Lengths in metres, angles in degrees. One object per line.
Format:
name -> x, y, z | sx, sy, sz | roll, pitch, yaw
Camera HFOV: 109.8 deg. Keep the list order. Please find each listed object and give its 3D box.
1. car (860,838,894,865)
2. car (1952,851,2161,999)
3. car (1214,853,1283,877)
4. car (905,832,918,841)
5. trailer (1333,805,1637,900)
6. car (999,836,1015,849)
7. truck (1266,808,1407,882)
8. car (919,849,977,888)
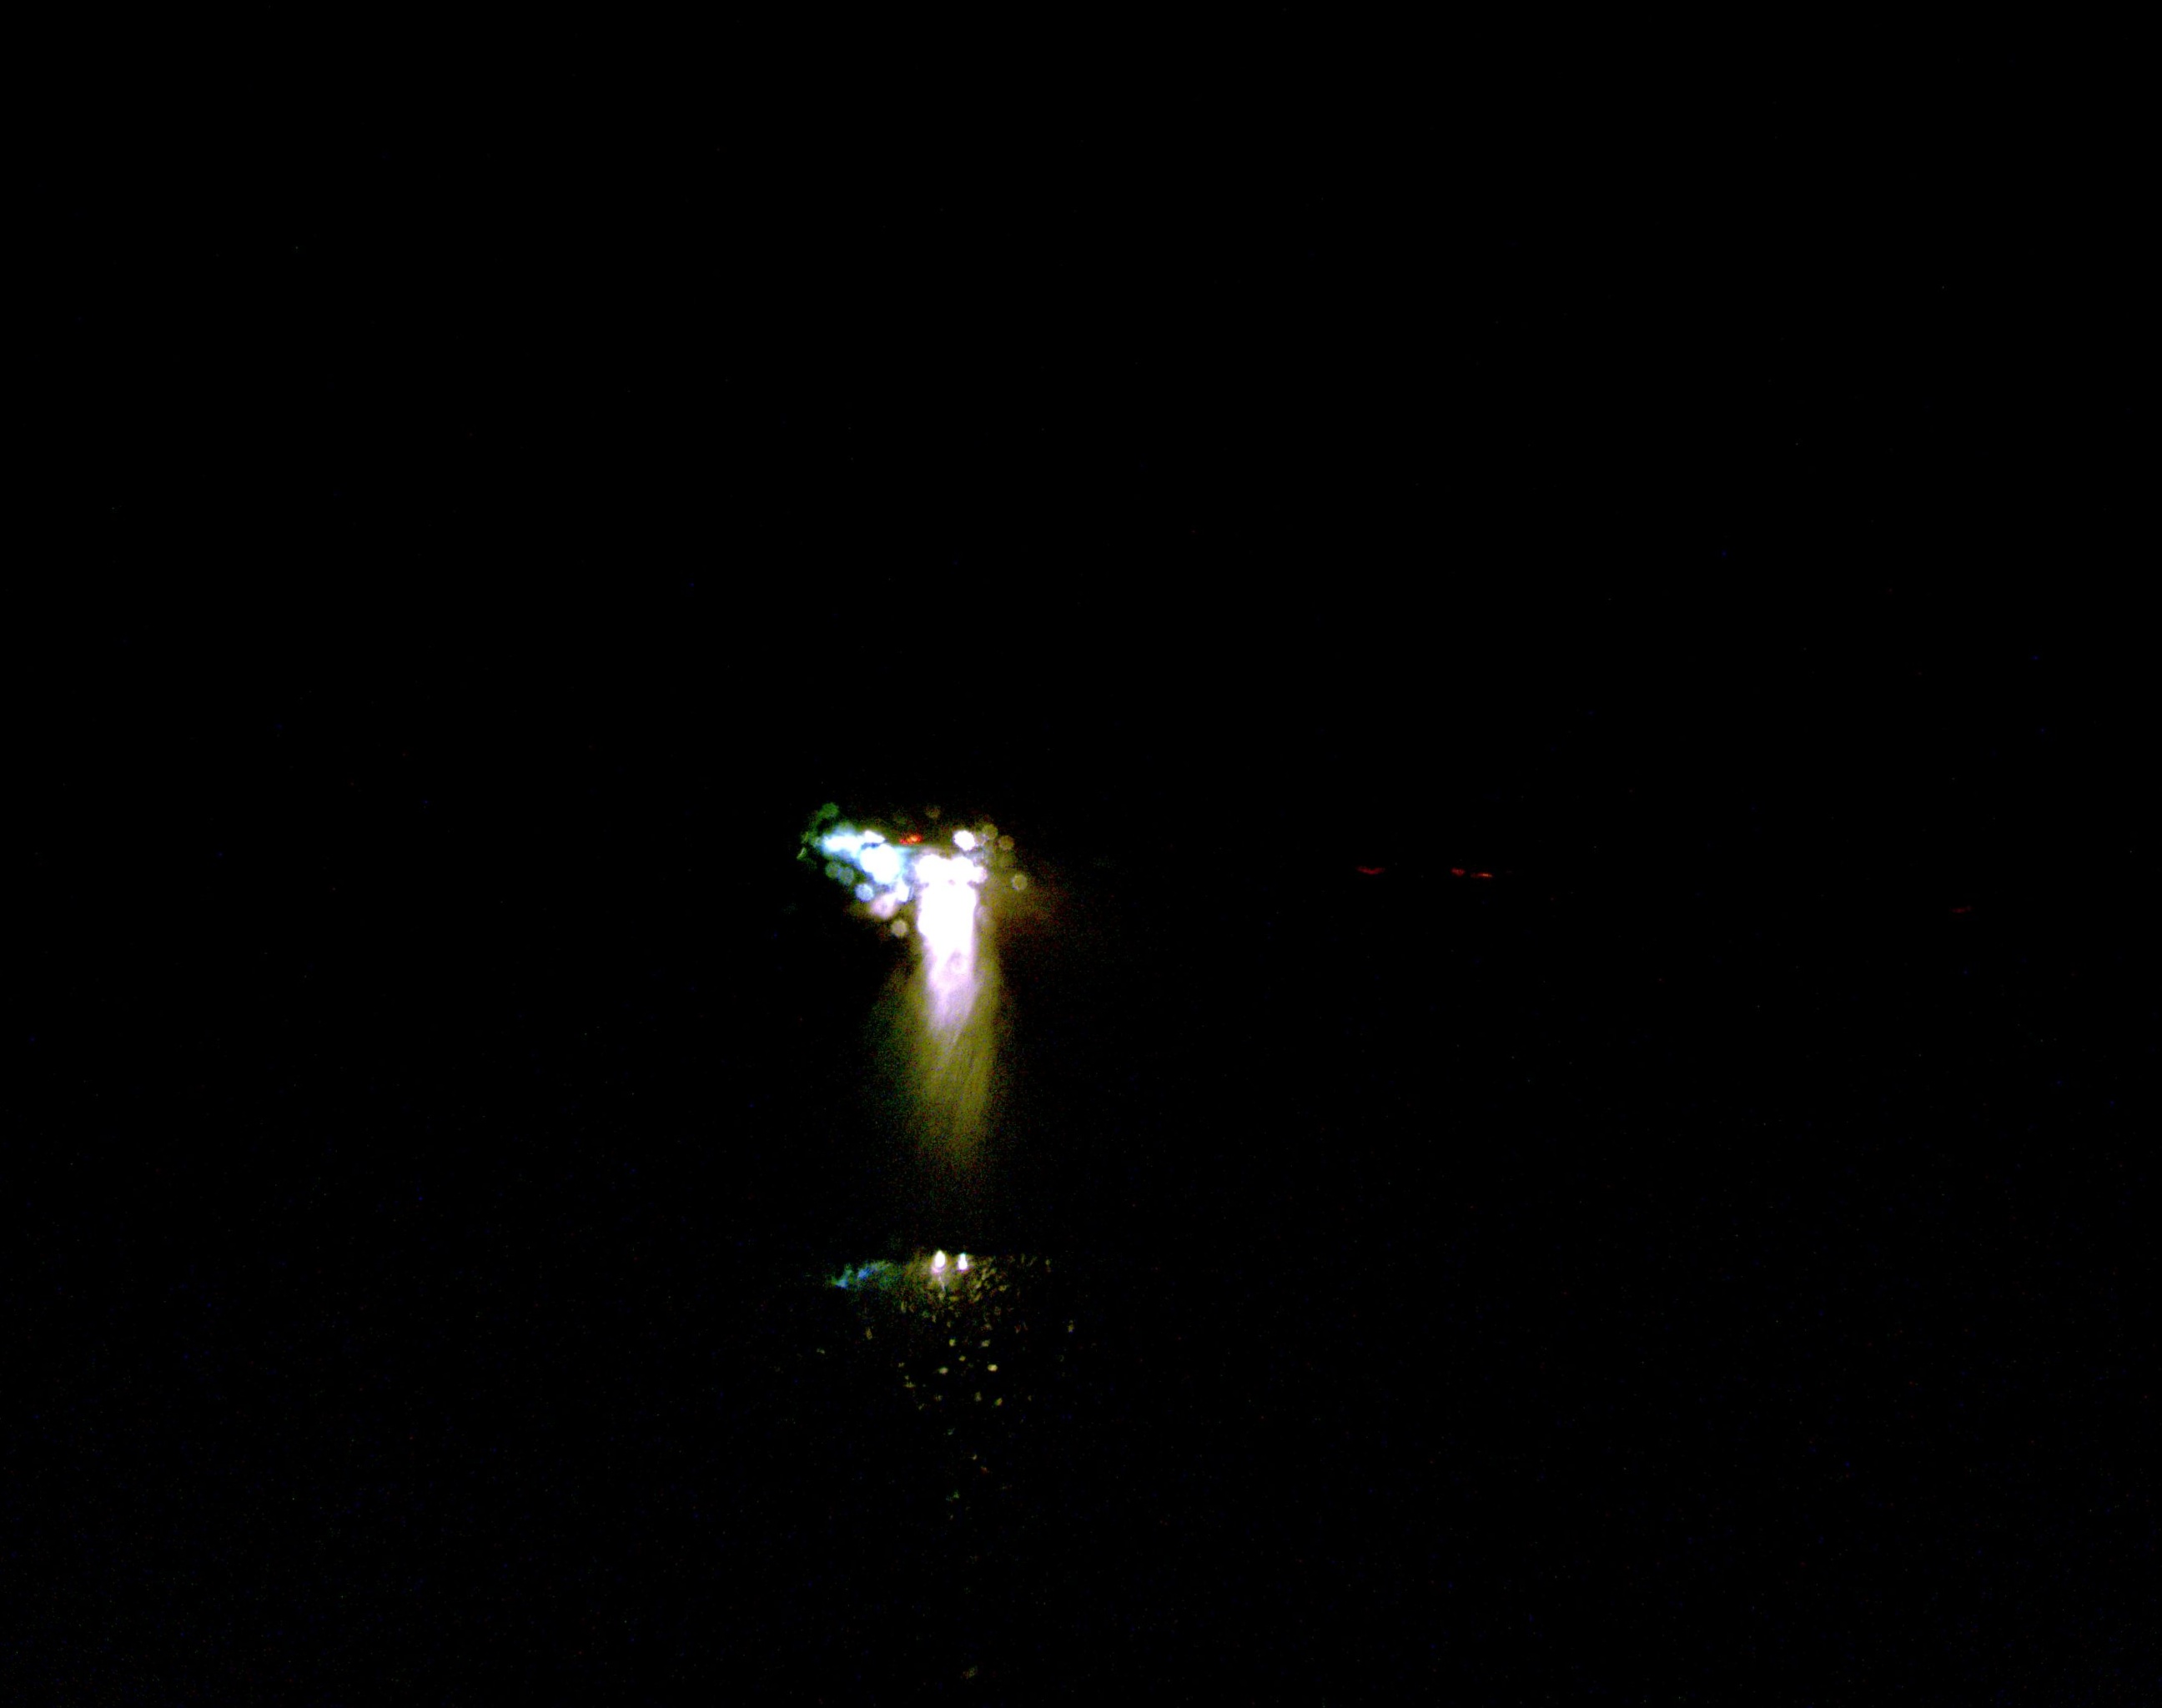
car -> -16.573, -0.173, 61.650 | 2.002, 2.002, 3.993 | -5, 1, -23
car -> 16.453, 1.039, 11.228 | 1.758, 2.093, 4.451 | -1, 1, -33
car -> 9.783, 0.616, 44.562 | 1.646, 1.272, 4.005 | 0, 1, -30
car -> -38.936, -3.970, 174.732 | 2.003, 2.002, 4.798 | 0, 2, -24
trailer -> 18.975, -0.282, 37.535 | 3.456, 3.856, 13.328 | -1, 2, -30
car -> -9.148, -1.378, 93.619 | 1.790, 1.466, 3.888 | 1, 2, -8
truck -> 14.825, -0.527, 44.737 | 3.415, 3.950, 7.439 | 0, 1, -30
car -> -6.421, 0.644, 36.295 | 1.896, 1.603, 3.991 | 0, 2, -22
